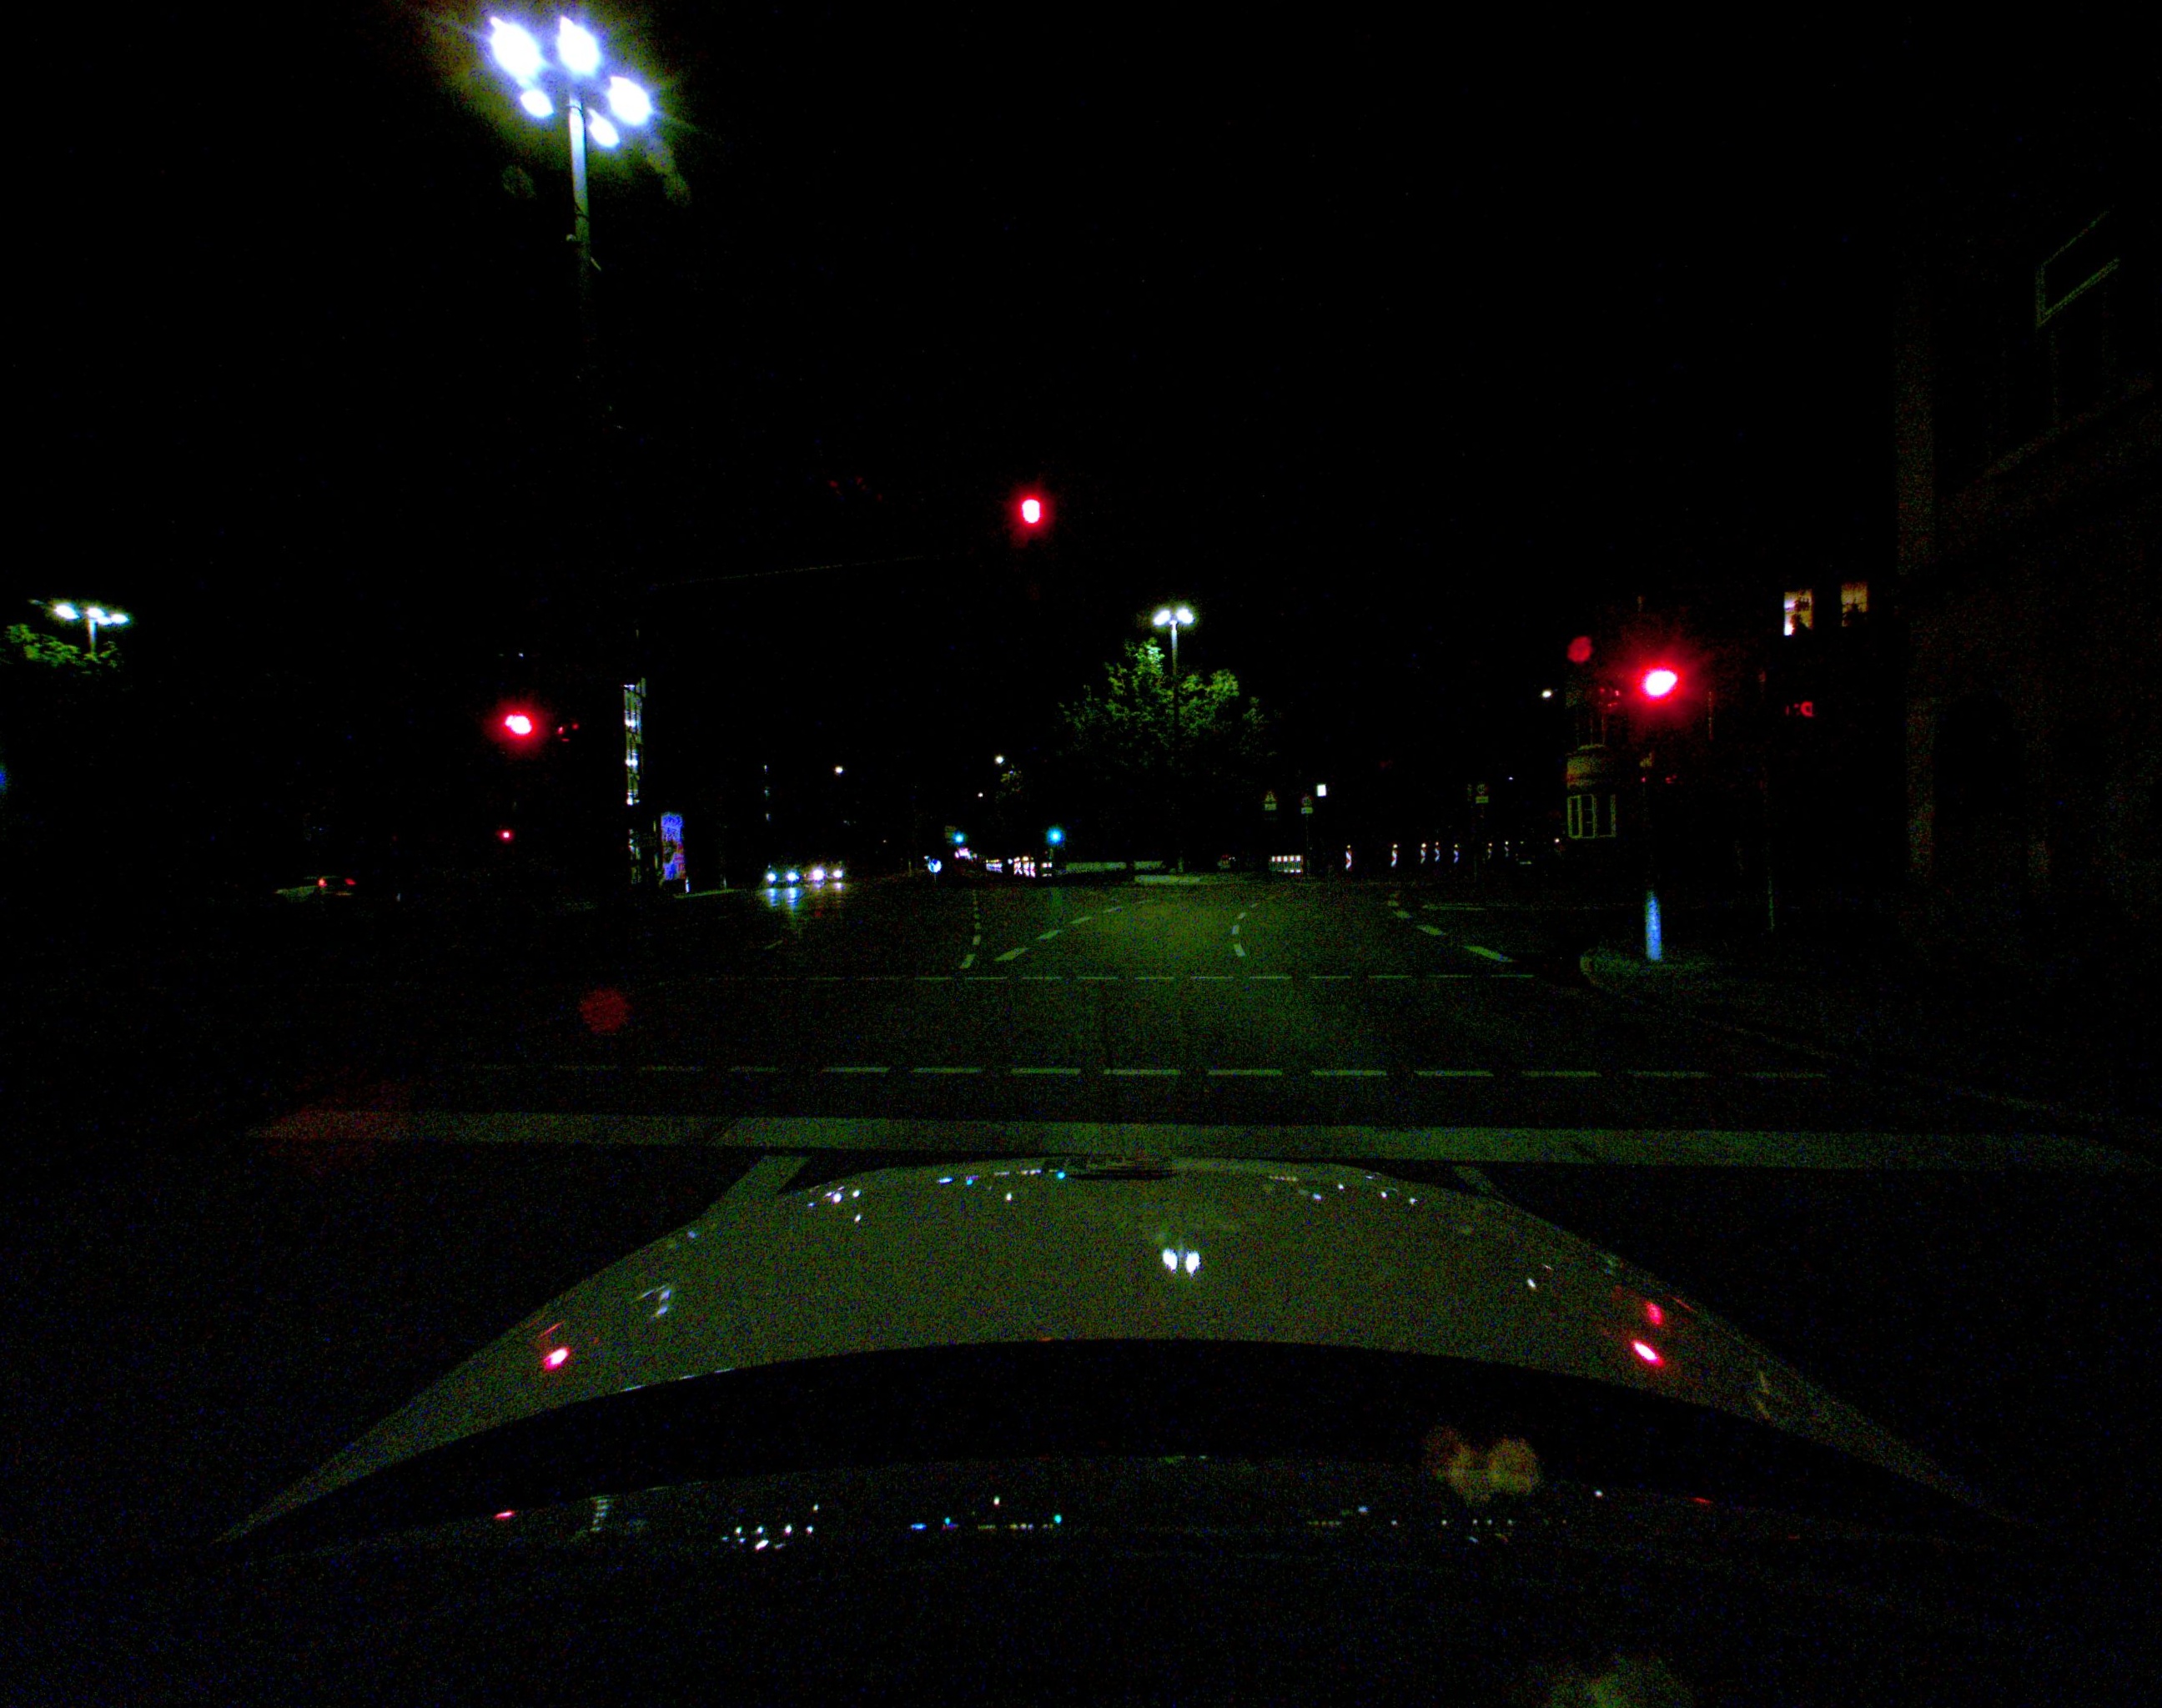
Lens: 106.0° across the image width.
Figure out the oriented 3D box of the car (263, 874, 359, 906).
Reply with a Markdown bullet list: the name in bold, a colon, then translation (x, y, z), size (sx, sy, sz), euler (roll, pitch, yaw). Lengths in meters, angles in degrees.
- **car**: translation (-38.758, 1.802, 41.018), size (3.956, 1.491, 1.716), euler (-2, -1, 16)

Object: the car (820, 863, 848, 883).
- **car**: translation (-21.627, 1.655, 71.433), size (1.756, 1.728, 3.538), euler (-1, -1, -7)

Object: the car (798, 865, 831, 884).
- **car**: translation (-20.462, 1.568, 62.591), size (1.756, 1.322, 3.538), euler (-1, -1, -7)

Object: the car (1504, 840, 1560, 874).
- **car**: translation (22.641, 0.154, 40.843), size (1.711, 1.612, 3.646), euler (-2, -1, 41)

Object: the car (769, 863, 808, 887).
- **car**: translation (-19.771, 1.415, 55.150), size (1.614, 1.515, 3.990), euler (-1, -1, -7)
